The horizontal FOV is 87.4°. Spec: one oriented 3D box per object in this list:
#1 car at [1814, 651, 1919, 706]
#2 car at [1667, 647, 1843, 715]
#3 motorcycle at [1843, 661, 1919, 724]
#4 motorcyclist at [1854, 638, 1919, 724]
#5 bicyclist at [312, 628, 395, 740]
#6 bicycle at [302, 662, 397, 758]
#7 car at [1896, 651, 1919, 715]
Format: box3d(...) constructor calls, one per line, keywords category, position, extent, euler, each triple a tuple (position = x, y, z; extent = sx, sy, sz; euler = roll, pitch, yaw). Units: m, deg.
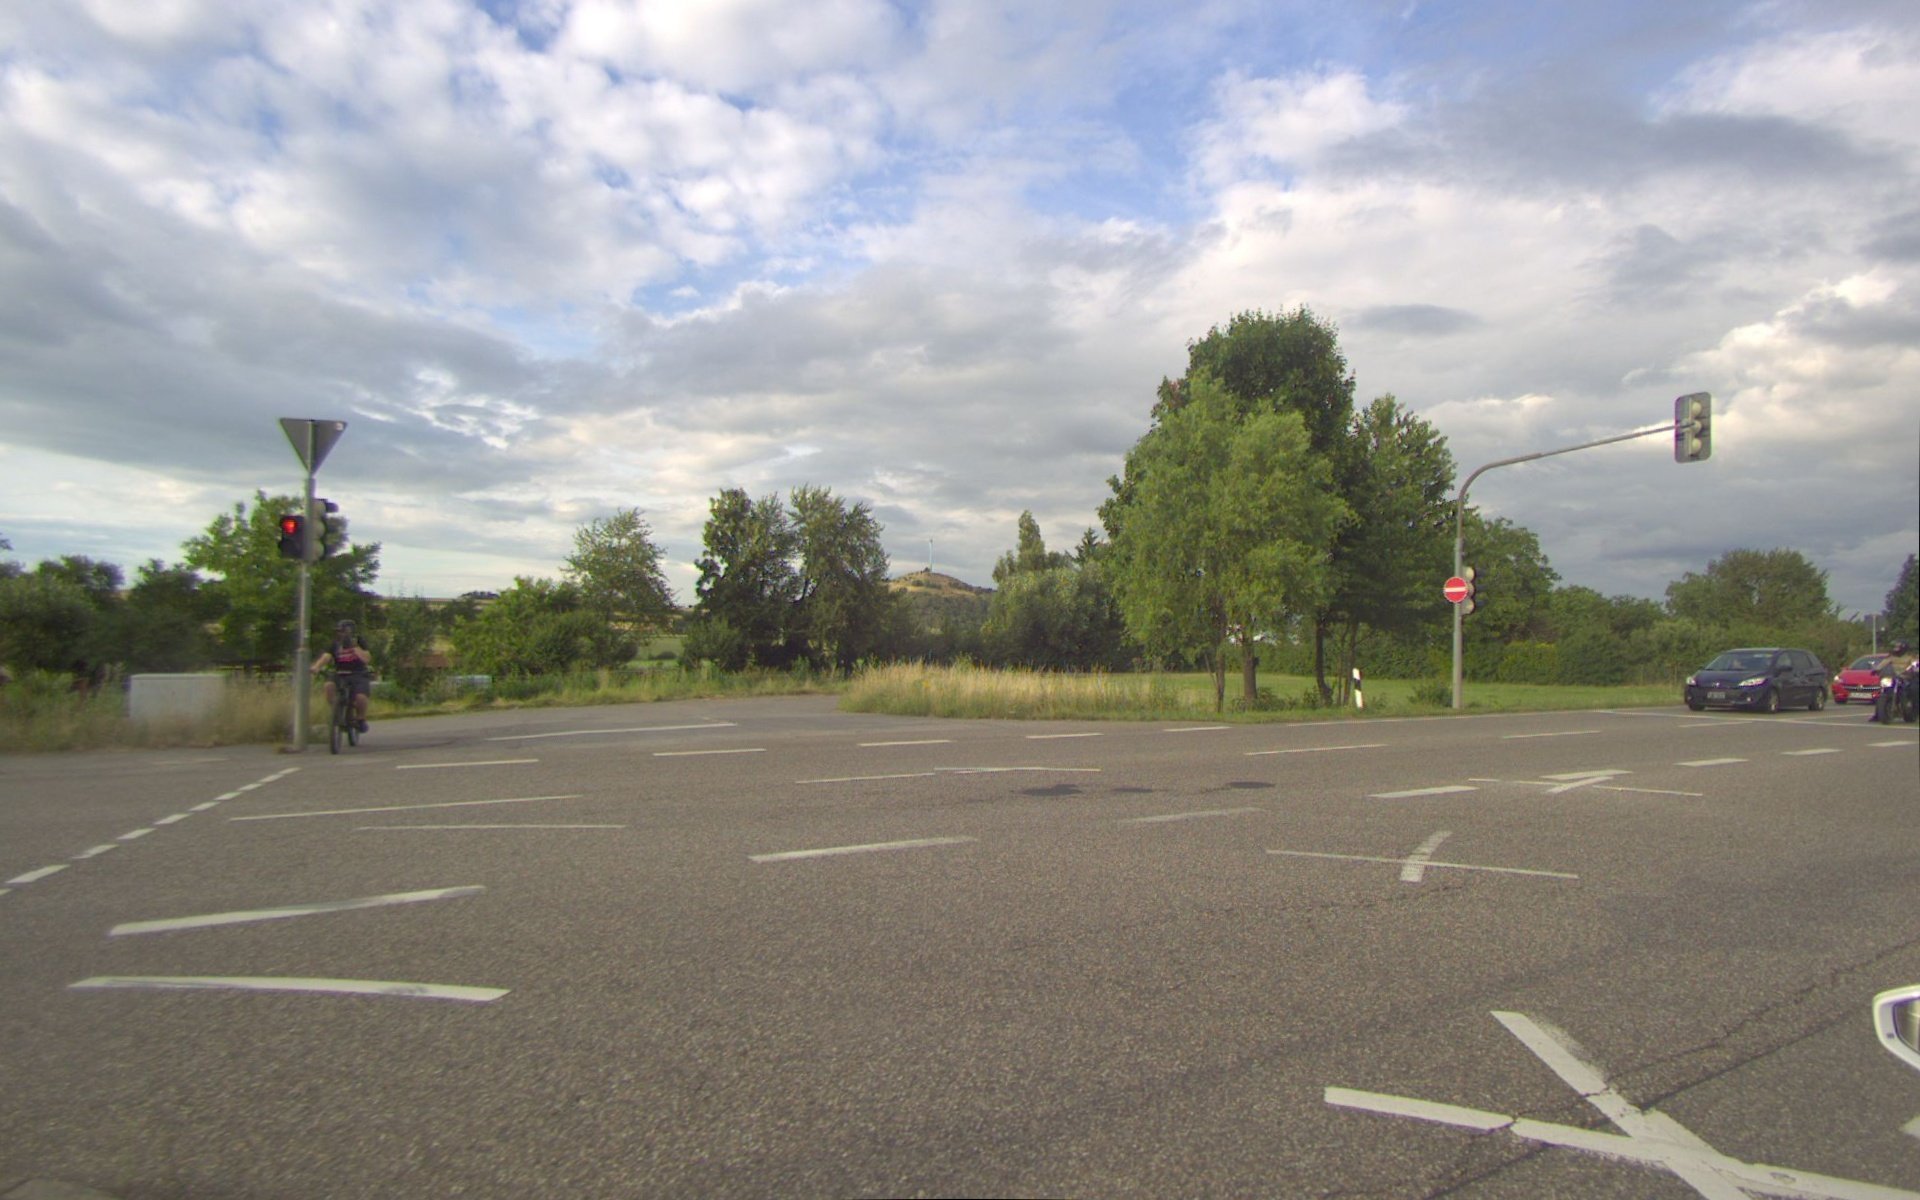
box3d(category="car", position=(27.335, 2.283, 29.722), extent=(4.135, 1.484, 1.898), euler=(2, -2, -31))
box3d(category="car", position=(20.295, 2.009, 25.590), extent=(4.881, 1.556, 1.898), euler=(2, -2, -31))
box3d(category="motorcycle", position=(19.487, 1.904, 20.907), extent=(2.449, 1.219, 0.912), euler=(2, -3, -30))
box3d(category="motorcyclist", position=(19.434, 1.660, 20.872), extent=(1.261, 1.731, 0.912), euler=(2, -3, -30))
box3d(category="bicyclist", position=(-8.412, 1.135, 13.974), extent=(0.804, 1.470, 1.219), euler=(1, -2, -24))
box3d(category="bicycle", position=(-8.414, 1.466, 13.931), extent=(0.804, 1.152, 2.314), euler=(1, -2, -24))
box3d(category="car", position=(24.248, 1.952, 23.636), extent=(5.092, 1.447, 1.898), euler=(2, -2, -31))
